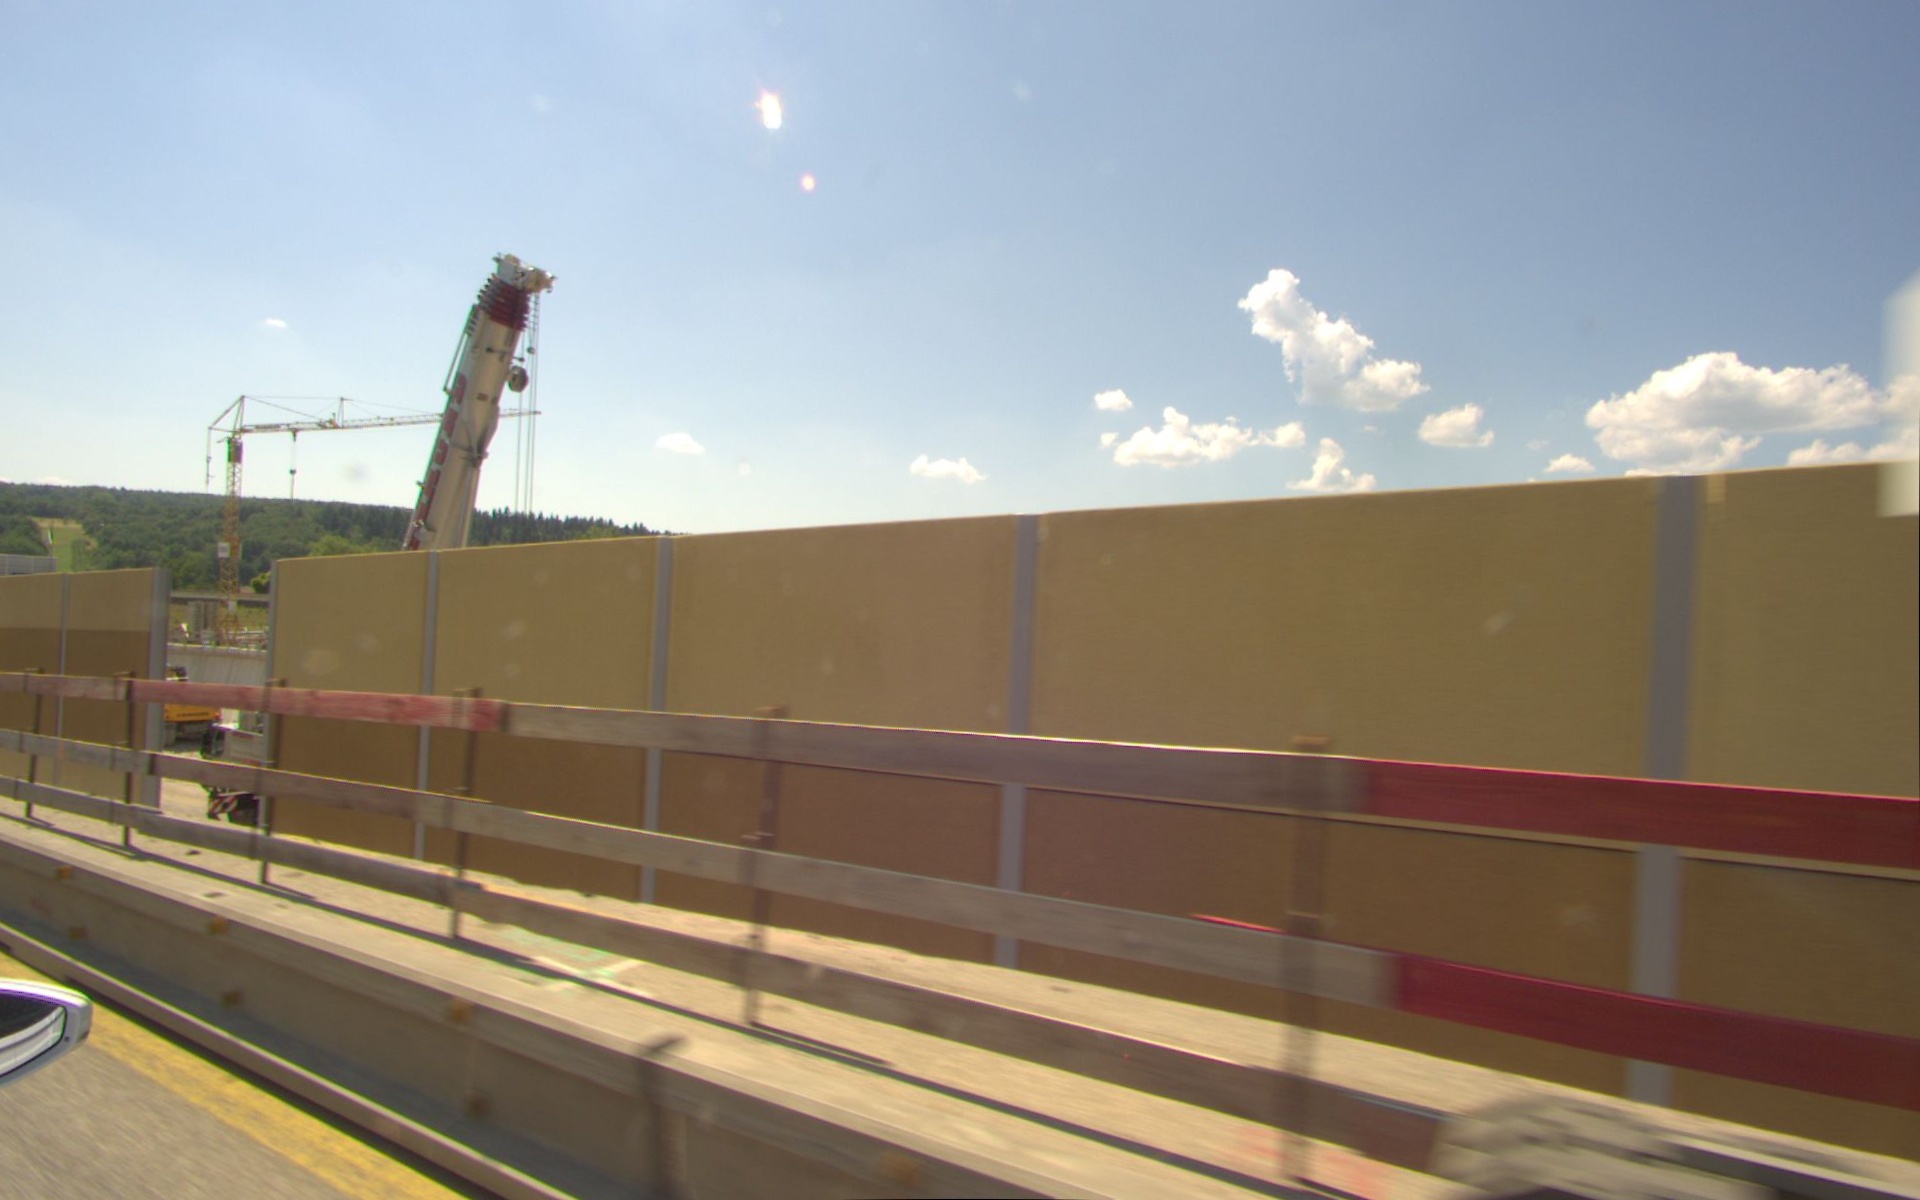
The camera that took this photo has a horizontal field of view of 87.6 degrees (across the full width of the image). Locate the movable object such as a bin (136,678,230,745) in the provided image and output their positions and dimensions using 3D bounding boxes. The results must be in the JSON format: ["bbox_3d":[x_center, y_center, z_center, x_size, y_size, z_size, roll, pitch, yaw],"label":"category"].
[{"bbox_3d":[-38.924,5.516,50.131,4.755,3.061,2.276,-1,-4,34],"label":"movable object such as a bin"}]

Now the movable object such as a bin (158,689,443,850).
[{"bbox_3d":[-18.477,4.412,27.843,9.019,3.530,2.963,-1,-4,31],"label":"movable object such as a bin"}]

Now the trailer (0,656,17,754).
[{"bbox_3d":[-44.702,4.312,43.443,12.869,3.936,2.752,-1,-2,34],"label":"trailer"}]
